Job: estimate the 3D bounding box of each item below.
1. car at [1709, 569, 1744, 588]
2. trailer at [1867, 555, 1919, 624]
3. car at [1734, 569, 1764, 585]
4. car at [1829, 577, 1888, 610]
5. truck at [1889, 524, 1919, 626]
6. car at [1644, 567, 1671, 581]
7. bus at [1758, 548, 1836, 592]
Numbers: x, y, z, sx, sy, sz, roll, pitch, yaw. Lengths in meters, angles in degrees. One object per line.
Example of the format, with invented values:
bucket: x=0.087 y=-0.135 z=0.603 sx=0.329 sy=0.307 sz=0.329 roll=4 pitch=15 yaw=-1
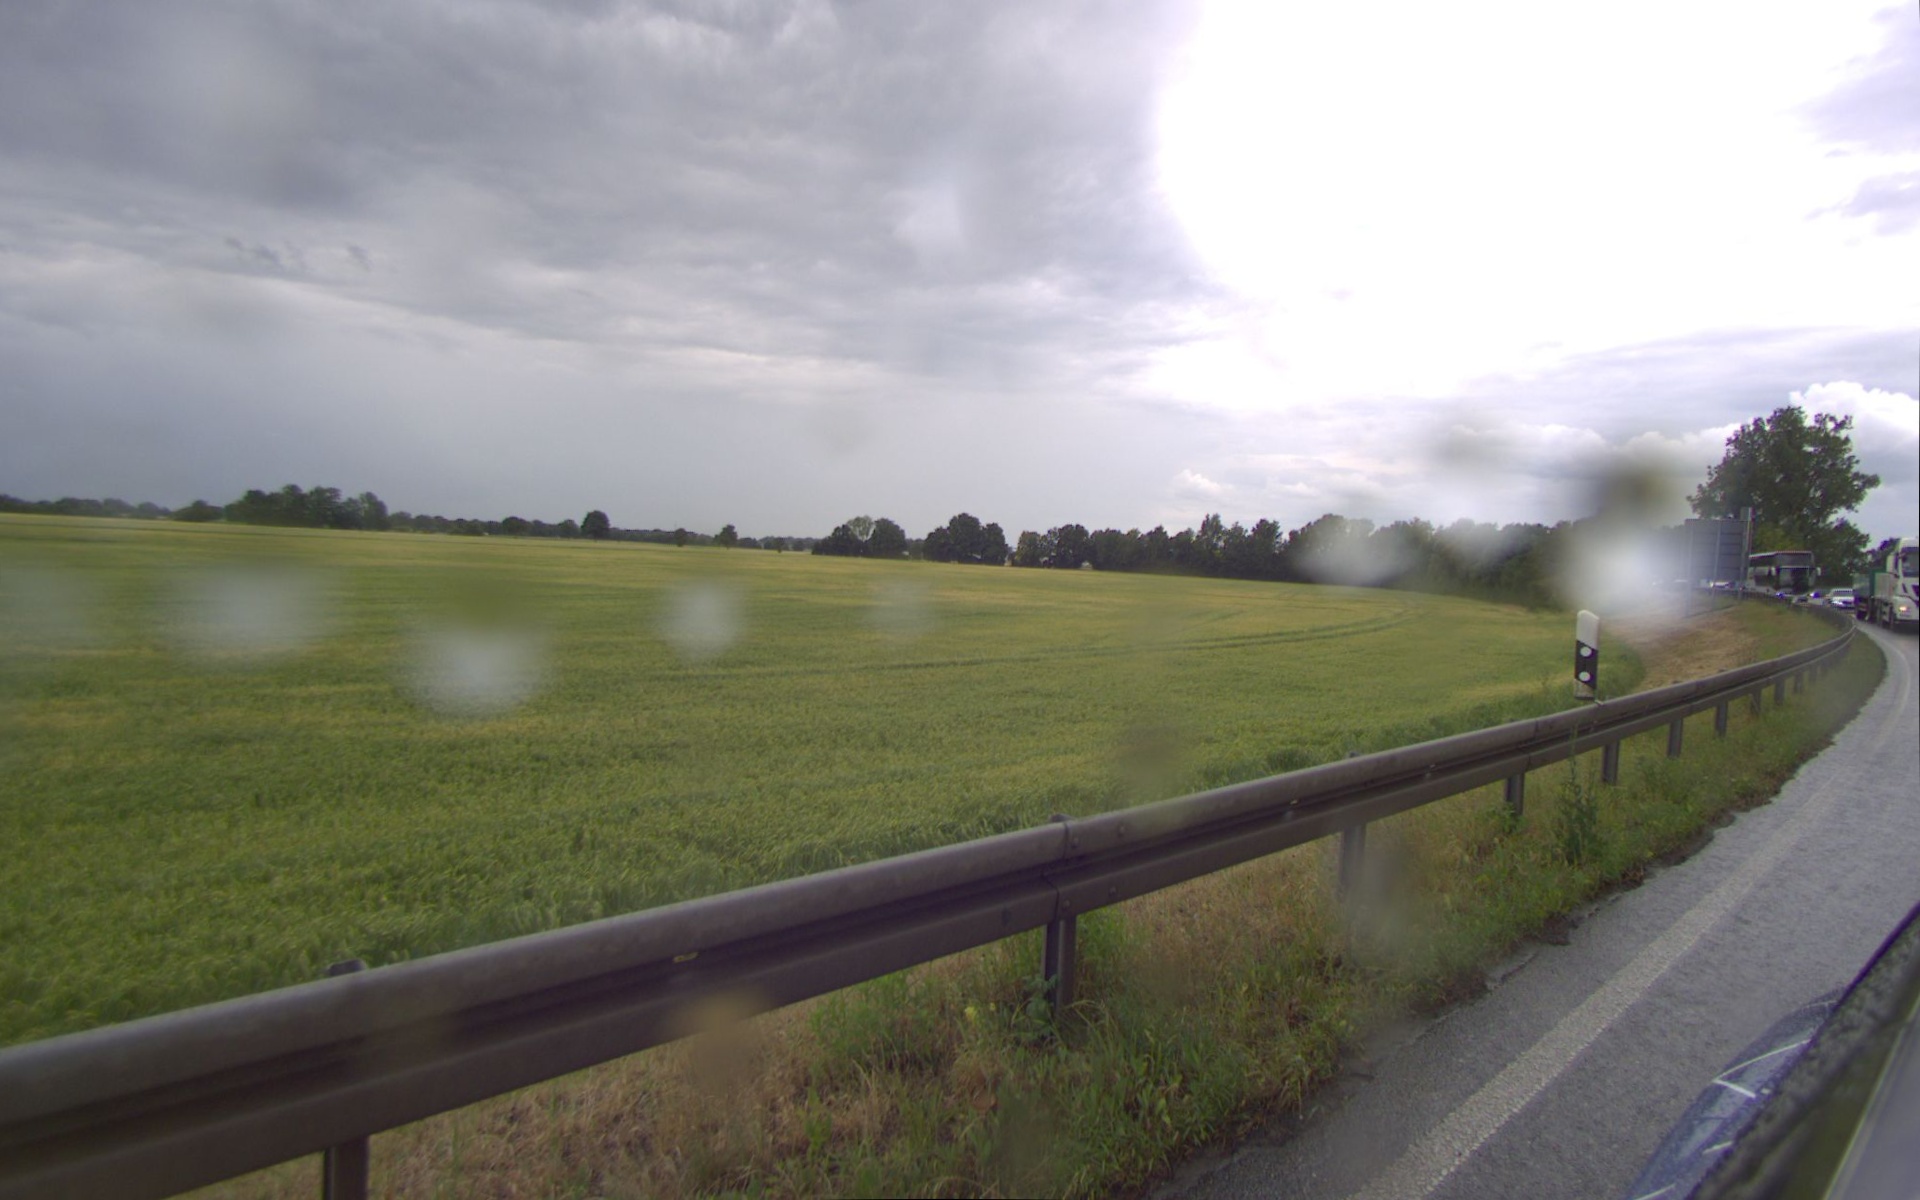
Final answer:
car: x=84.935 y=-2.323 z=112.191 sx=1.979 sy=2.039 sz=5.291 roll=0 pitch=1 yaw=25
trailer: x=42.274 y=-0.510 z=44.352 sx=2.971 sy=2.666 sz=15.461 roll=0 pitch=1 yaw=39
car: x=78.074 y=-2.273 z=100.156 sx=1.800 sy=1.597 sz=3.958 roll=0 pitch=1 yaw=30
car: x=54.028 y=-0.415 z=60.953 sx=2.030 sy=1.866 sz=5.269 roll=0 pitch=1 yaw=35
truck: x=36.968 y=-0.930 z=37.781 sx=2.971 sy=3.655 sz=5.995 roll=0 pitch=1 yaw=39
car: x=100.160 y=-3.746 z=145.435 sx=1.973 sy=2.039 sz=4.291 roll=0 pitch=1 yaw=18
bus: x=69.032 y=-2.484 z=83.803 sx=2.943 sy=3.353 sz=14.673 roll=0 pitch=2 yaw=32
